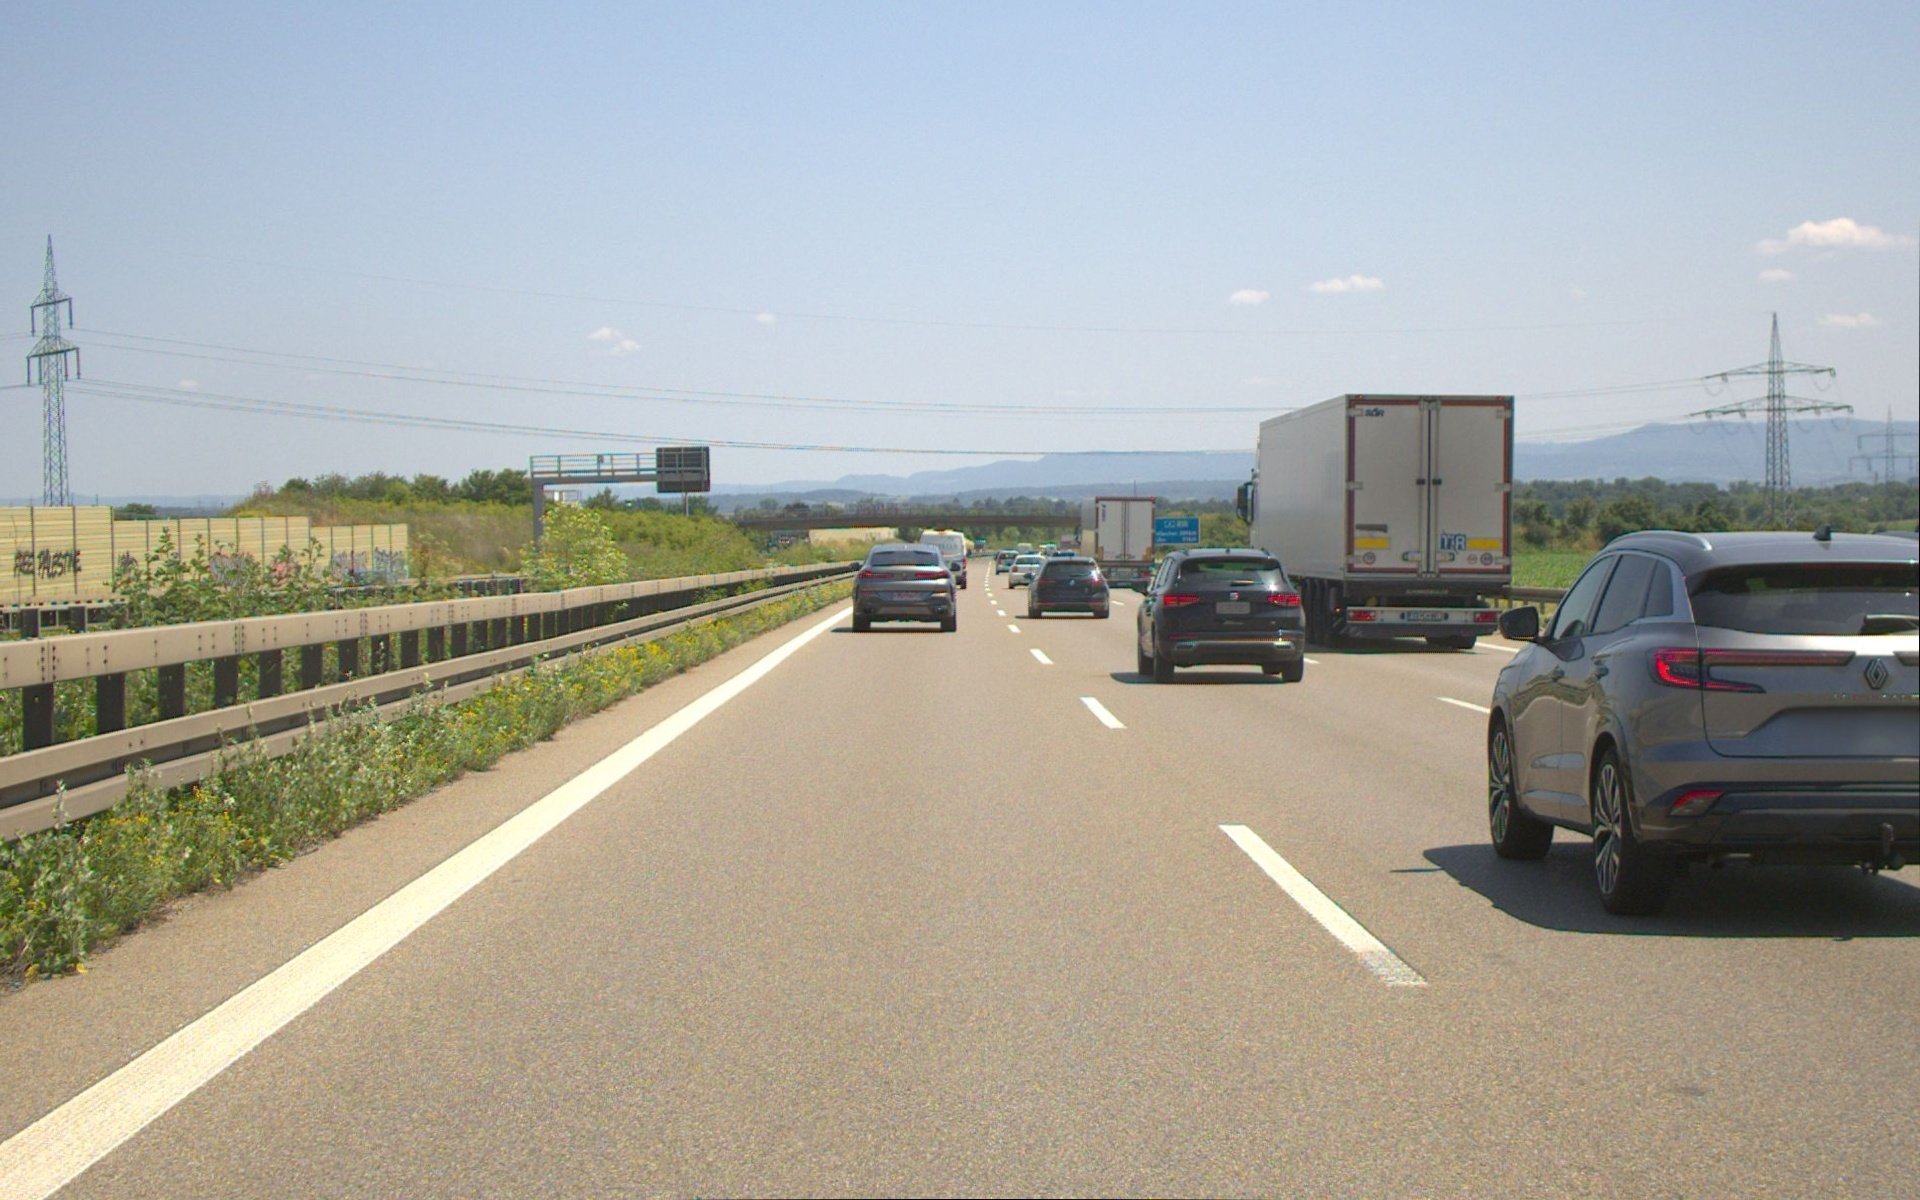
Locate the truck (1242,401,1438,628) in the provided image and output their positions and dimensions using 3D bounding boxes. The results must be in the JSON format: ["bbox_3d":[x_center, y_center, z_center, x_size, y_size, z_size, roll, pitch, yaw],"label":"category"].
[{"bbox_3d":[7.174,-1.575,65.805,2.862,4.077,6.880,1,0,0],"label":"truck"}]

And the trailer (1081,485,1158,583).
[{"bbox_3d":[7.076,-2.880,154.275,2.943,4.184,13.596,1,0,1],"label":"trailer"}]

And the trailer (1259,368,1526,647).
[{"bbox_3d":[7.185,-1.467,59.118,2.868,4.205,13.295,1,0,0],"label":"trailer"}]

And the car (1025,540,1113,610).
[{"bbox_3d":[2.549,-0.586,81.327,1.933,1.569,4.934,1,0,0],"label":"car"}]

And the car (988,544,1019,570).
[{"bbox_3d":[2.888,-2.864,228.187,1.993,1.677,4.000,1,0,1],"label":"car"}]

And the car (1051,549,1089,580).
[{"bbox_3d":[6.139,-1.993,192.218,1.993,1.677,4.000,1,0,1],"label":"car"}]

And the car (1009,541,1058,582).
[{"bbox_3d":[3.050,-1.600,143.795,1.993,1.677,4.000,1,0,1],"label":"car"}]

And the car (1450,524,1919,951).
[{"bbox_3d":[3.524,0.489,15.692,1.851,1.643,4.645,0,1,-1],"label":"car"}]

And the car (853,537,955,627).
[{"bbox_3d":[-1.109,-0.351,66.452,1.851,1.658,3.735,1,0,-2],"label":"car"}]

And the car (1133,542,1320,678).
[{"bbox_3d":[3.183,0.099,41.711,1.796,1.556,3.824,1,0,-2],"label":"car"}]

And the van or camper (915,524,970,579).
[{"bbox_3d":[-0.703,-2.007,142.215,2.111,2.204,5.265,1,0,1],"label":"van or camper"}]
